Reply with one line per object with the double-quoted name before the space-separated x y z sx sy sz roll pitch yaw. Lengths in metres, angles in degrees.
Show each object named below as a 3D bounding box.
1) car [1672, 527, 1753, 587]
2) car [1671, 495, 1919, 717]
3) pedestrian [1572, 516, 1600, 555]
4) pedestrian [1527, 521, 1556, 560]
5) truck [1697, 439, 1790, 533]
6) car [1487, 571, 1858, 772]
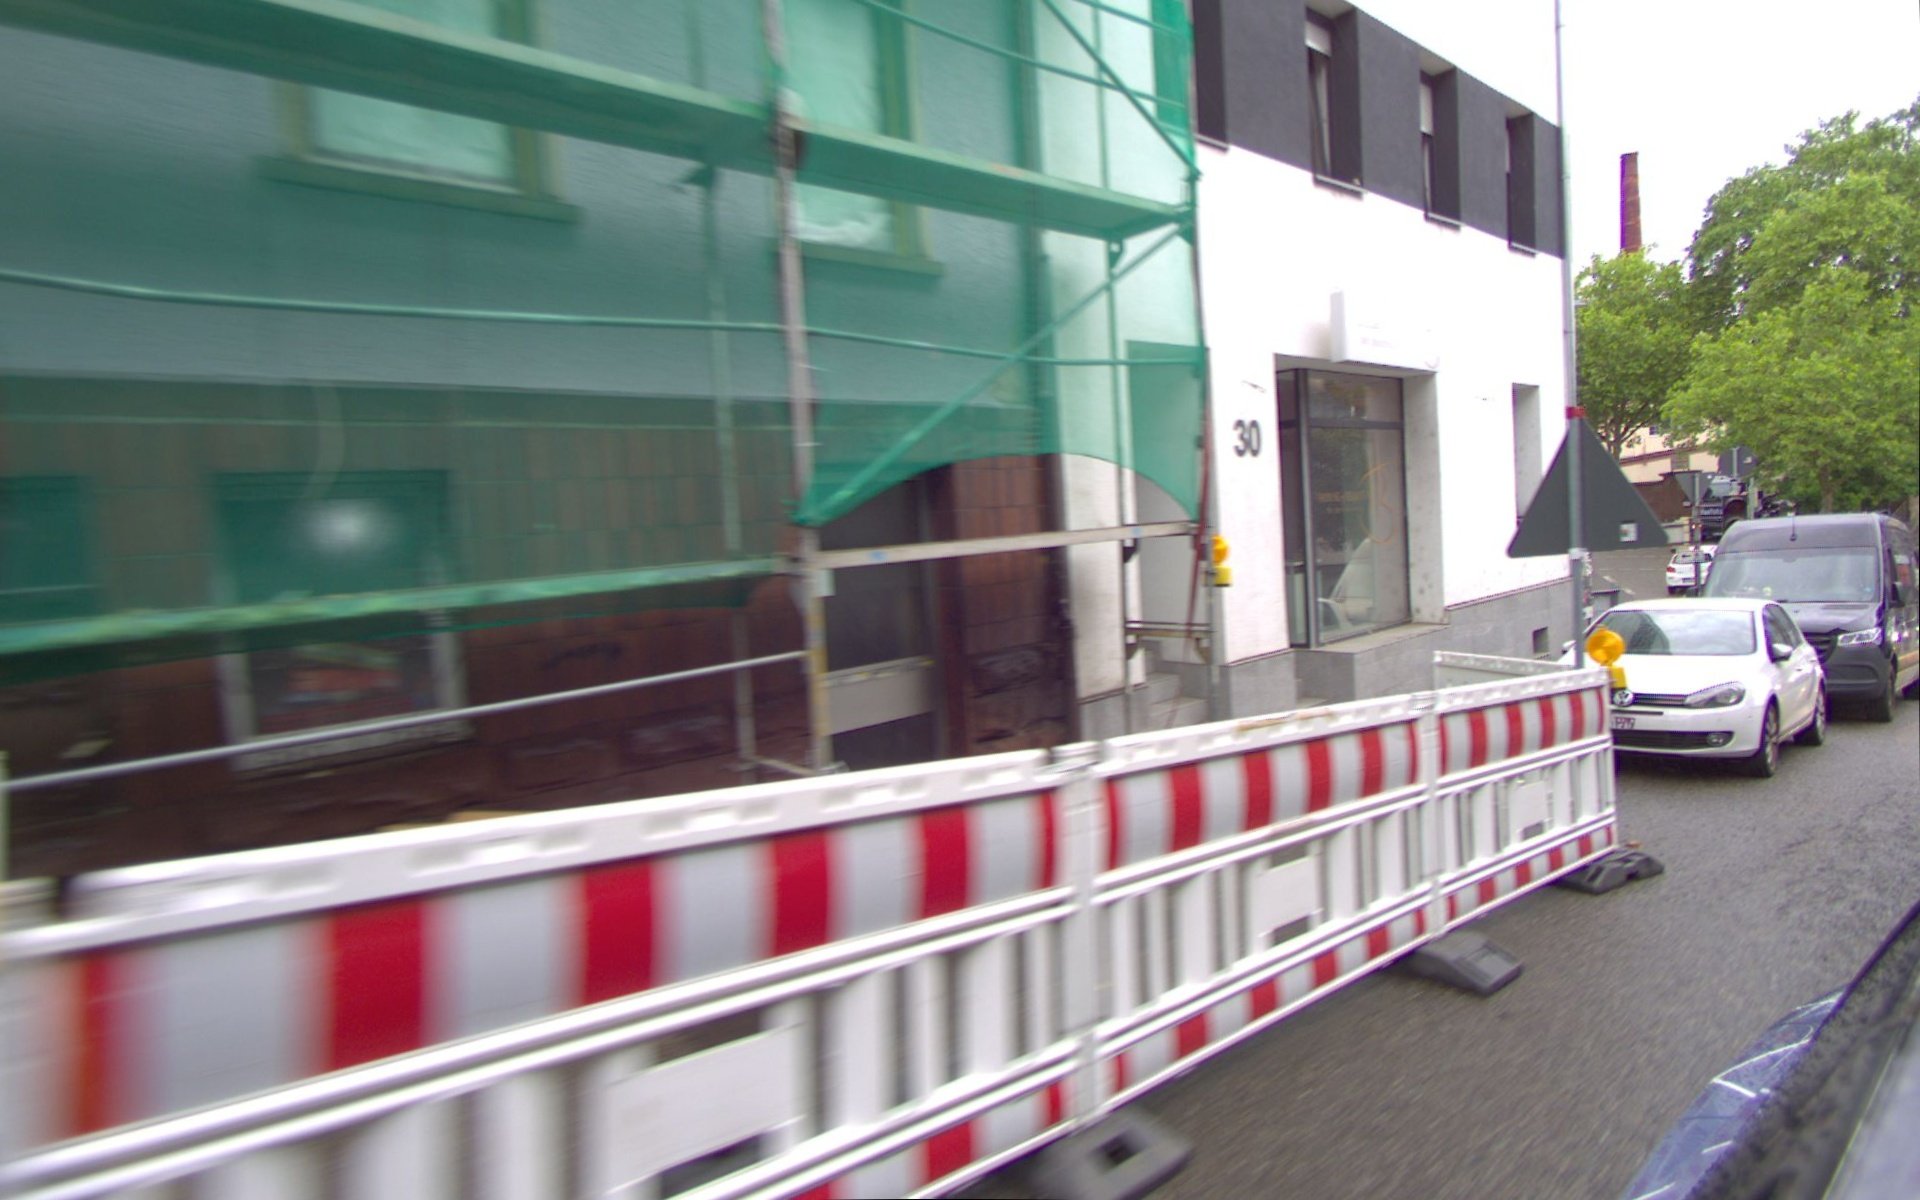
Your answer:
"car" 27.039 -1.569 36.320 4.285 1.509 1.631 -13 8 -44
"car" 11.736 -0.047 13.786 5.737 2.444 1.996 -3 1 -41
"pedestrian" 27.534 -2.827 44.531 0.863 1.697 0.775 0 3 19
"pedestrian" 25.564 -2.607 44.513 0.765 1.697 0.874 -3 3 -38
"truck" 38.812 -5.757 49.974 2.746 3.342 11.085 2 12 42
"car" 7.093 0.527 9.908 4.262 1.531 1.996 -1 0 -41
